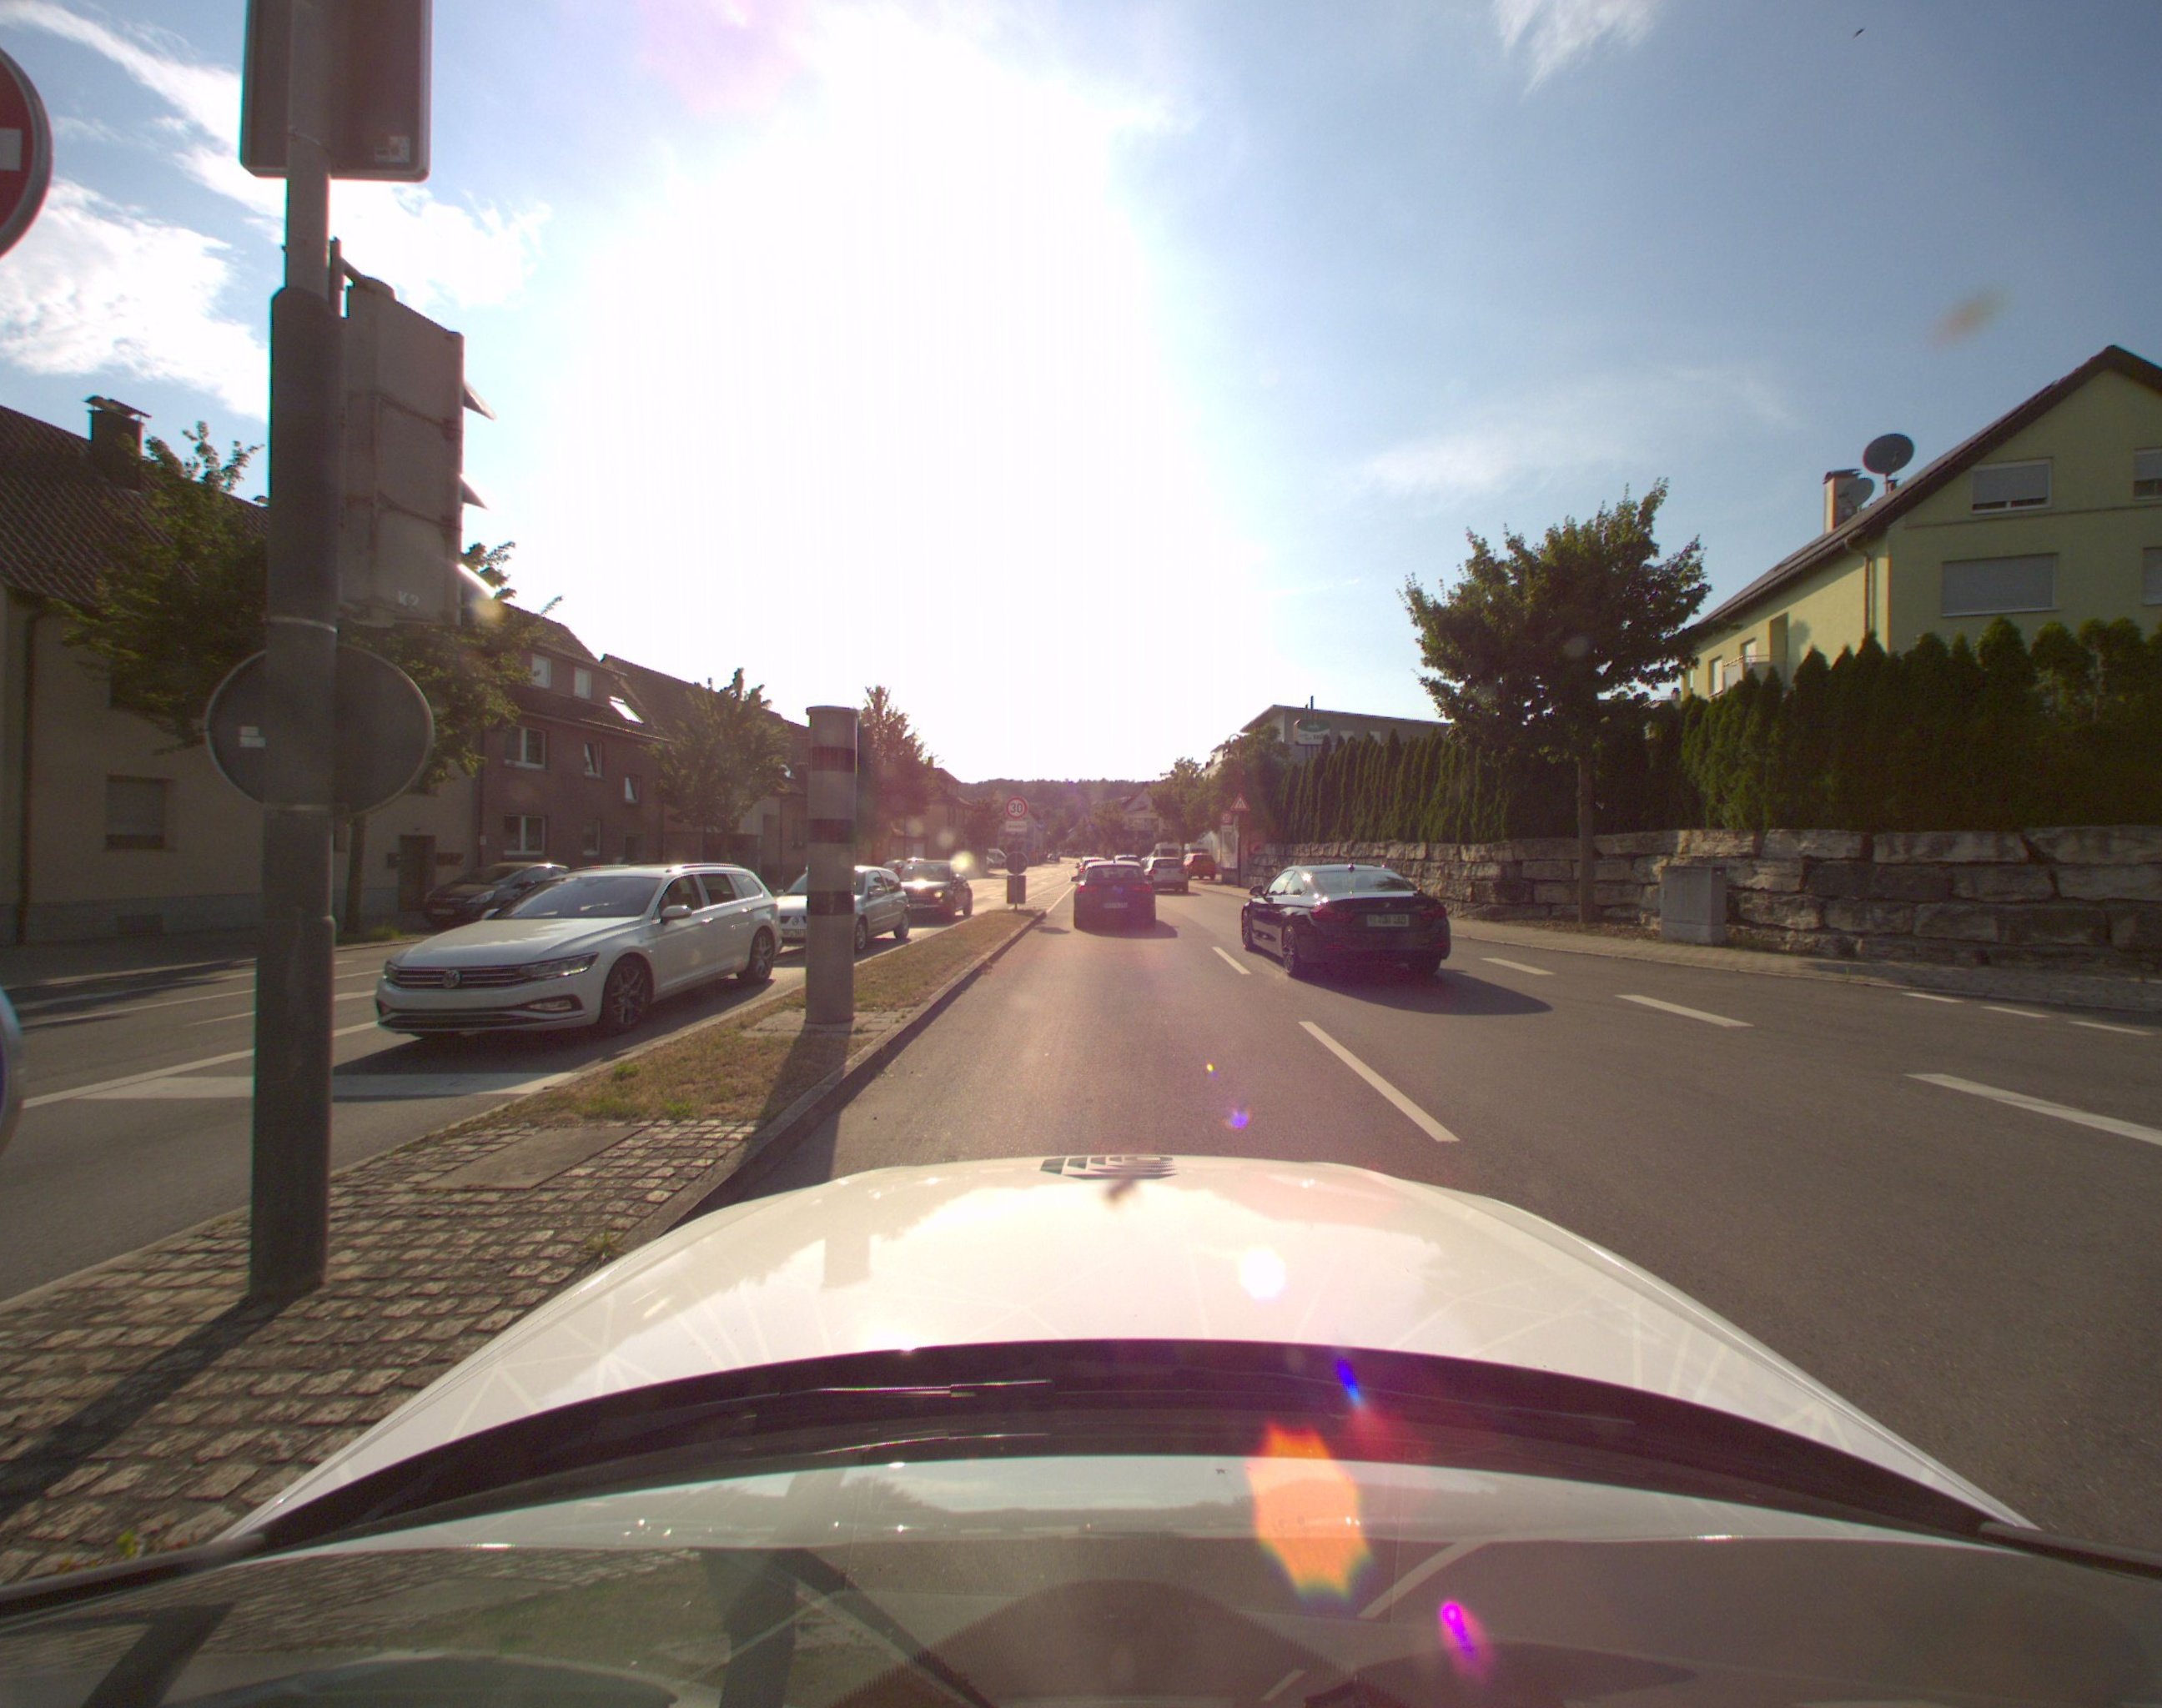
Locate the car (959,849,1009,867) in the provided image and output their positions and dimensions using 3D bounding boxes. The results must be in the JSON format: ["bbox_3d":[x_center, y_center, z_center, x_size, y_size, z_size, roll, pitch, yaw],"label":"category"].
[{"bbox_3d":[-12.616,0.507,106.333,6.138,2.444,2.249,0,0,0],"label":"car"}]

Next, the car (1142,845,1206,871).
[{"bbox_3d":[9.173,0.388,80.285,6.029,2.363,2.042,-1,0,-3],"label":"car"}]

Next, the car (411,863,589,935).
[{"bbox_3d":[-14.018,1.022,19.942,1.506,1.510,3.886,1,0,1],"label":"car"}]

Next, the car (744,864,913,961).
[{"bbox_3d":[-4.208,0.915,14.168,1.582,1.427,3.582,-1,0,4],"label":"car"}]

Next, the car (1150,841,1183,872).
[{"bbox_3d":[7.852,0.227,75.300,2.143,2.680,6.599,-1,0,-1],"label":"car"}]

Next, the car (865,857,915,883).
[{"bbox_3d":[-11.715,0.968,50.185,1.657,1.487,4.007,2,0,7],"label":"car"}]

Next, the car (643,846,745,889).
[{"bbox_3d":[-17.826,0.607,37.636,3.805,1.881,1.781,1,0,3],"label":"car"}]

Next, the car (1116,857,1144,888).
[{"bbox_3d":[2.967,1.082,49.787,1.596,1.767,3.413,-1,0,2],"label":"car"}]

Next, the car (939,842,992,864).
[{"bbox_3d":[-13.693,-0.096,96.606,5.893,2.479,2.197,0,3,4],"label":"car"}]

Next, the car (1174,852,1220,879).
[{"bbox_3d":[7.534,0.746,53.331,1.833,1.649,4.526,-1,0,-7],"label":"car"}]

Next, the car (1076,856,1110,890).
[{"bbox_3d":[0.583,0.956,41.695,1.587,1.600,3.892,-1,0,-1],"label":"car"}]

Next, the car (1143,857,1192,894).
[{"bbox_3d":[3.557,0.866,34.020,1.747,1.414,3.423,-1,0,1],"label":"car"}]

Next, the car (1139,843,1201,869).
[{"bbox_3d":[9.085,0.194,83.254,6.029,2.516,2.042,-1,0,-3],"label":"car"}]

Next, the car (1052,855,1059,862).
[{"bbox_3d":[-5.744,0.982,184.682,1.592,1.485,3.473,0,0,-1],"label":"car"}]

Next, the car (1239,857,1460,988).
[{"bbox_3d":[3.413,0.772,11.218,1.693,1.369,4.263,-2,0,1],"label":"car"}]

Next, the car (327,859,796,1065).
[{"bbox_3d":[-4.758,0.835,8.487,1.828,1.488,4.568,-1,0,2],"label":"car"}]

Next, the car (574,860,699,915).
[{"bbox_3d":[-13.776,0.969,25.548,1.613,1.510,4.133,-1,0,0],"label":"car"}]

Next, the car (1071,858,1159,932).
[{"bbox_3d":[0.742,0.845,18.440,1.765,1.456,3.516,-1,0,1],"label":"car"}]

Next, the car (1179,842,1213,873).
[{"bbox_3d":[10.583,0.325,75.426,2.105,2.722,6.439,-1,0,-2],"label":"car"}]

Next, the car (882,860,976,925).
[{"bbox_3d":[-3.769,0.911,20.736,1.526,1.462,3.509,-1,0,3],"label":"car"}]

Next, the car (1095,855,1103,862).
[{"bbox_3d":[3.804,0.916,172.043,1.592,1.485,3.473,0,0,-1],"label":"car"}]
